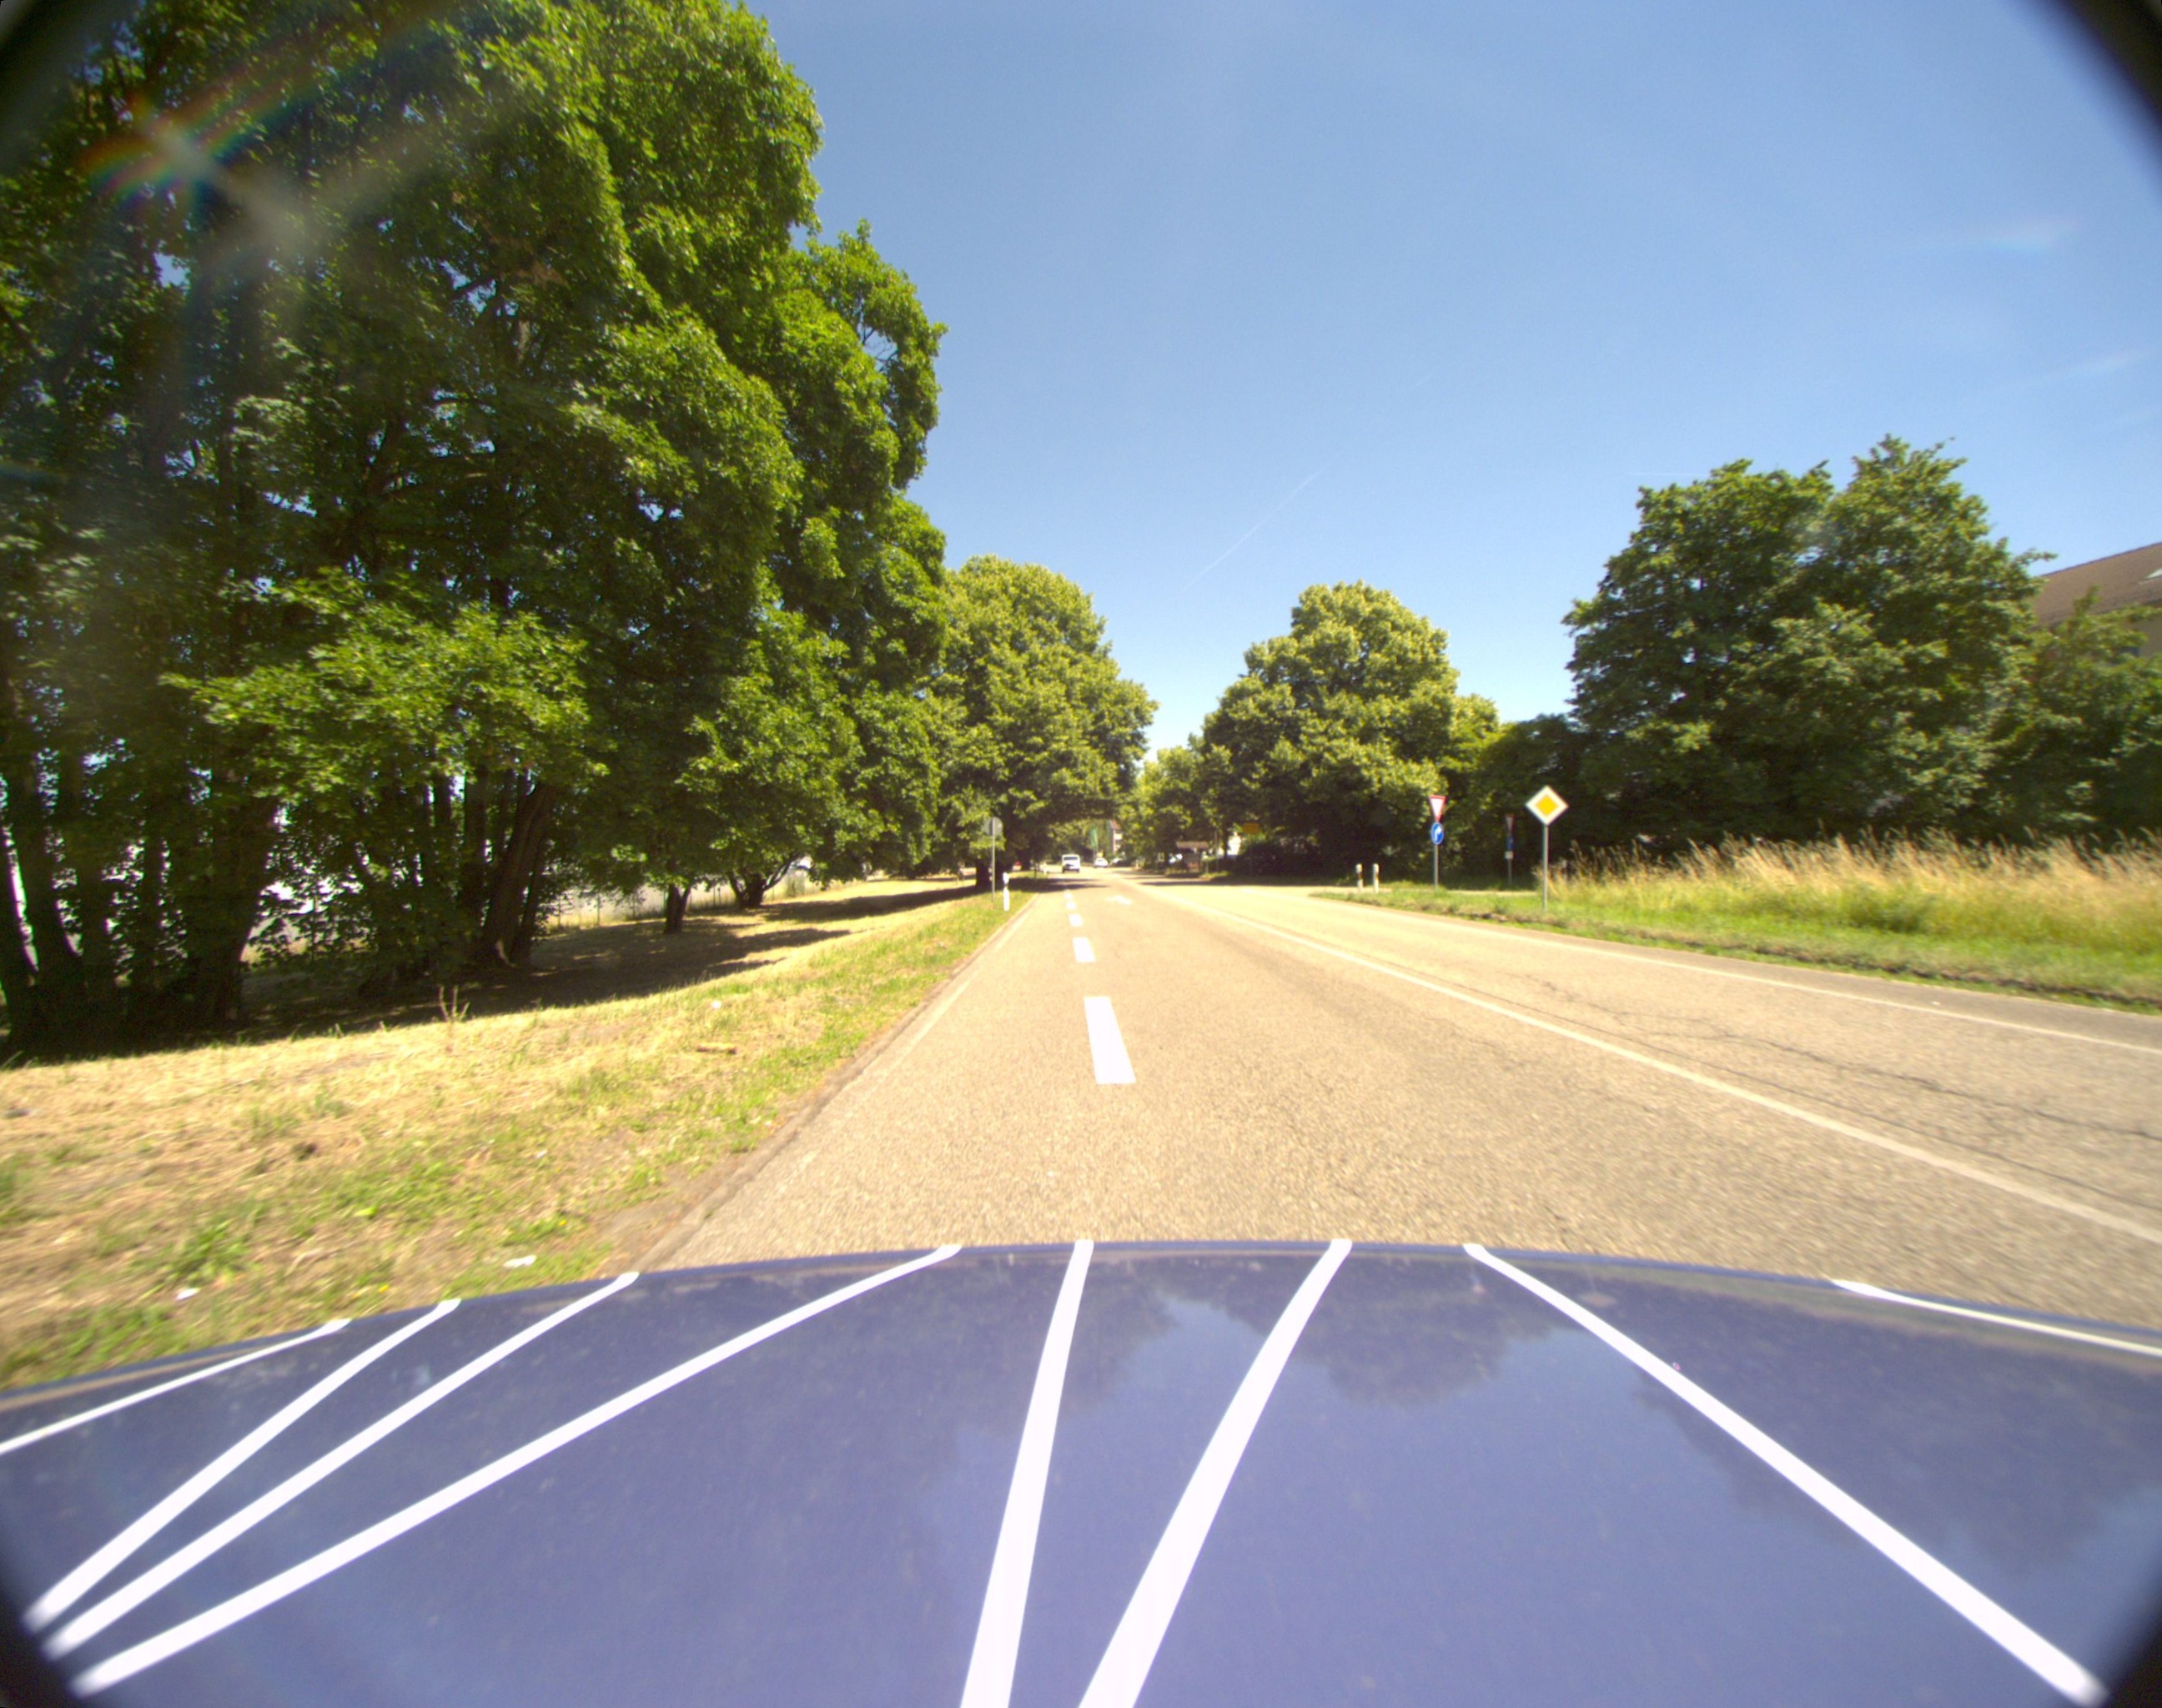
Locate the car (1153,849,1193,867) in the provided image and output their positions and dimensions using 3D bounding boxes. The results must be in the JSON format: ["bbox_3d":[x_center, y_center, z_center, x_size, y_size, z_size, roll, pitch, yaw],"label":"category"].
[{"bbox_3d":[10.819,0.424,89.746,4.369,1.969,1.904,-2,1,-5],"label":"car"}]

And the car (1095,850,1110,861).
[{"bbox_3d":[3.379,0.180,121.682,2.100,1.579,4.474,-3,0,-1],"label":"car"}]

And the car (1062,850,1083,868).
[{"bbox_3d":[-0.965,0.521,83.994,1.797,1.904,3.637,-1,1,-9],"label":"car"}]
